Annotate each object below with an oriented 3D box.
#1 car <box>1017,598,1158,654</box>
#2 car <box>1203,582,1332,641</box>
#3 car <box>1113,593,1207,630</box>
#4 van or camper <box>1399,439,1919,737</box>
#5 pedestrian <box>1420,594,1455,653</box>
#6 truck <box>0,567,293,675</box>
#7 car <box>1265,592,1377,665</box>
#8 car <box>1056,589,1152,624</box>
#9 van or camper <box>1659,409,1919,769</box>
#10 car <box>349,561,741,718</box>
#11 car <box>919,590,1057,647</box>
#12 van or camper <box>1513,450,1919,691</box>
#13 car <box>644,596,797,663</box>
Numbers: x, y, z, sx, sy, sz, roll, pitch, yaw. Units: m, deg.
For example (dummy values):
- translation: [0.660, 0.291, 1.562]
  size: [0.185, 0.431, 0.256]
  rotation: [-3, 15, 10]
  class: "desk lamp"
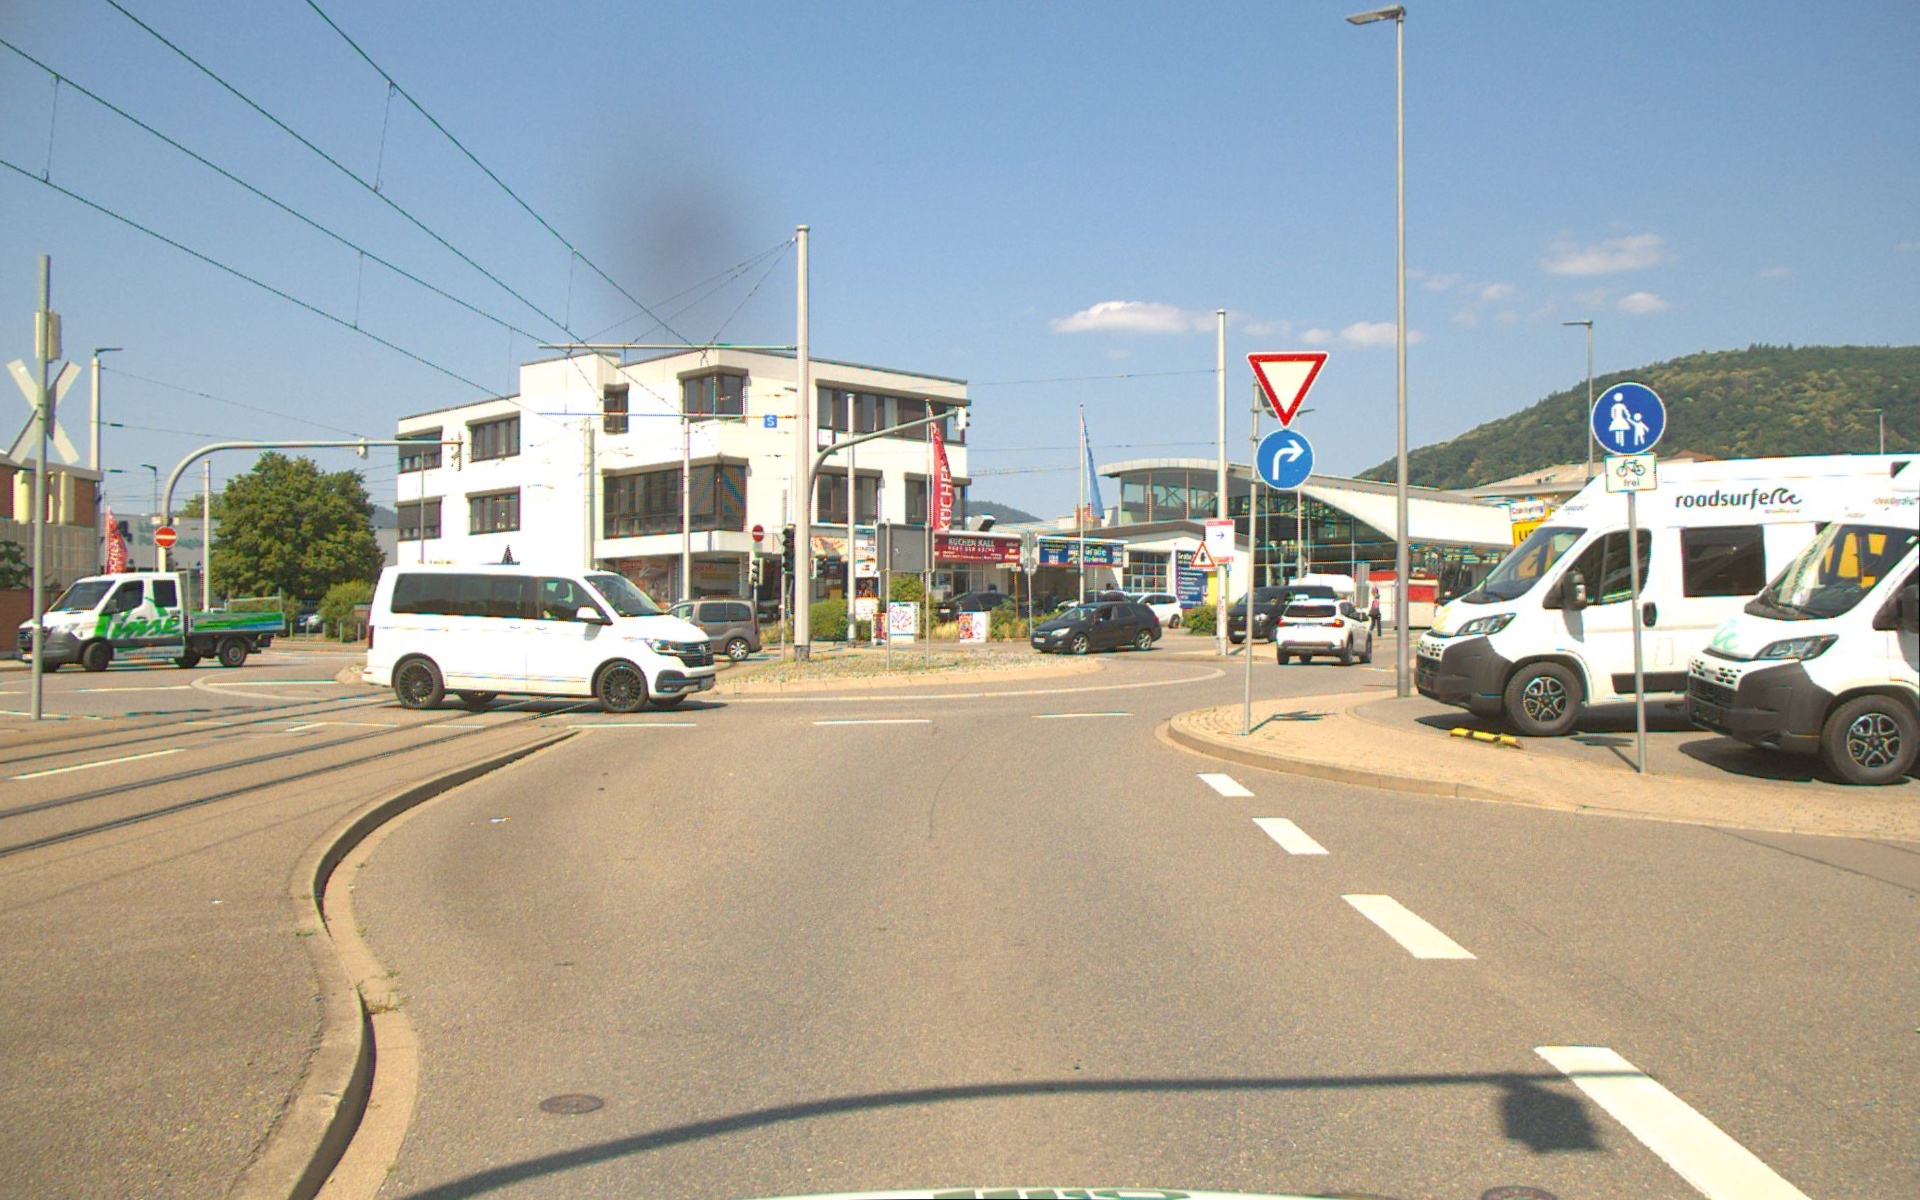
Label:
- translation: [3.974, 0.780, 51.276]
  size: [4.201, 1.583, 1.942]
  rotation: [-1, 0, -39]
  class: "car"
- translation: [10.656, 0.360, 57.127]
  size: [4.602, 1.943, 2.065]
  rotation: [-1, 1, -43]
  class: "car"
- translation: [9.369, 0.540, 77.227]
  size: [1.853, 1.616, 4.898]
  rotation: [-3, -2, 42]
  class: "car"
- translation: [7.674, -0.132, 17.146]
  size: [5.690, 2.822, 2.091]
  rotation: [-1, 0, 2]
  class: "van or camper"
- translation: [13.477, 0.661, 46.683]
  size: [0.861, 1.665, 0.954]
  rotation: [0, -1, 12]
  class: "pedestrian"
- translation: [-19.507, 0.478, 39.925]
  size: [2.161, 2.378, 6.377]
  rotation: [-1, 0, 30]
  class: "truck"
- translation: [9.253, 0.705, 42.164]
  size: [1.953, 1.763, 4.562]
  rotation: [-1, 0, 23]
  class: "car"
- translation: [6.248, 0.289, 71.450]
  size: [1.996, 1.452, 4.291]
  rotation: [-1, 0, 42]
  class: "car"
- translation: [9.102, -0.114, 14.123]
  size: [5.391, 2.863, 2.049]
  rotation: [0, 1, 3]
  class: "van or camper"
- translation: [-5.771, 0.534, 23.239]
  size: [4.895, 2.049, 2.171]
  rotation: [0, 0, 13]
  class: "car"
- translation: [1.070, 0.642, 60.585]
  size: [5.240, 2.000, 1.934]
  rotation: [0, -1, -44]
  class: "car"
- translation: [11.585, -0.422, 22.987]
  size: [6.918, 2.998, 2.334]
  rotation: [-2, -1, -1]
  class: "van or camper"
- translation: [-6.906, 0.839, 47.864]
  size: [4.313, 1.850, 1.986]
  rotation: [0, 0, -8]
  class: "car"
